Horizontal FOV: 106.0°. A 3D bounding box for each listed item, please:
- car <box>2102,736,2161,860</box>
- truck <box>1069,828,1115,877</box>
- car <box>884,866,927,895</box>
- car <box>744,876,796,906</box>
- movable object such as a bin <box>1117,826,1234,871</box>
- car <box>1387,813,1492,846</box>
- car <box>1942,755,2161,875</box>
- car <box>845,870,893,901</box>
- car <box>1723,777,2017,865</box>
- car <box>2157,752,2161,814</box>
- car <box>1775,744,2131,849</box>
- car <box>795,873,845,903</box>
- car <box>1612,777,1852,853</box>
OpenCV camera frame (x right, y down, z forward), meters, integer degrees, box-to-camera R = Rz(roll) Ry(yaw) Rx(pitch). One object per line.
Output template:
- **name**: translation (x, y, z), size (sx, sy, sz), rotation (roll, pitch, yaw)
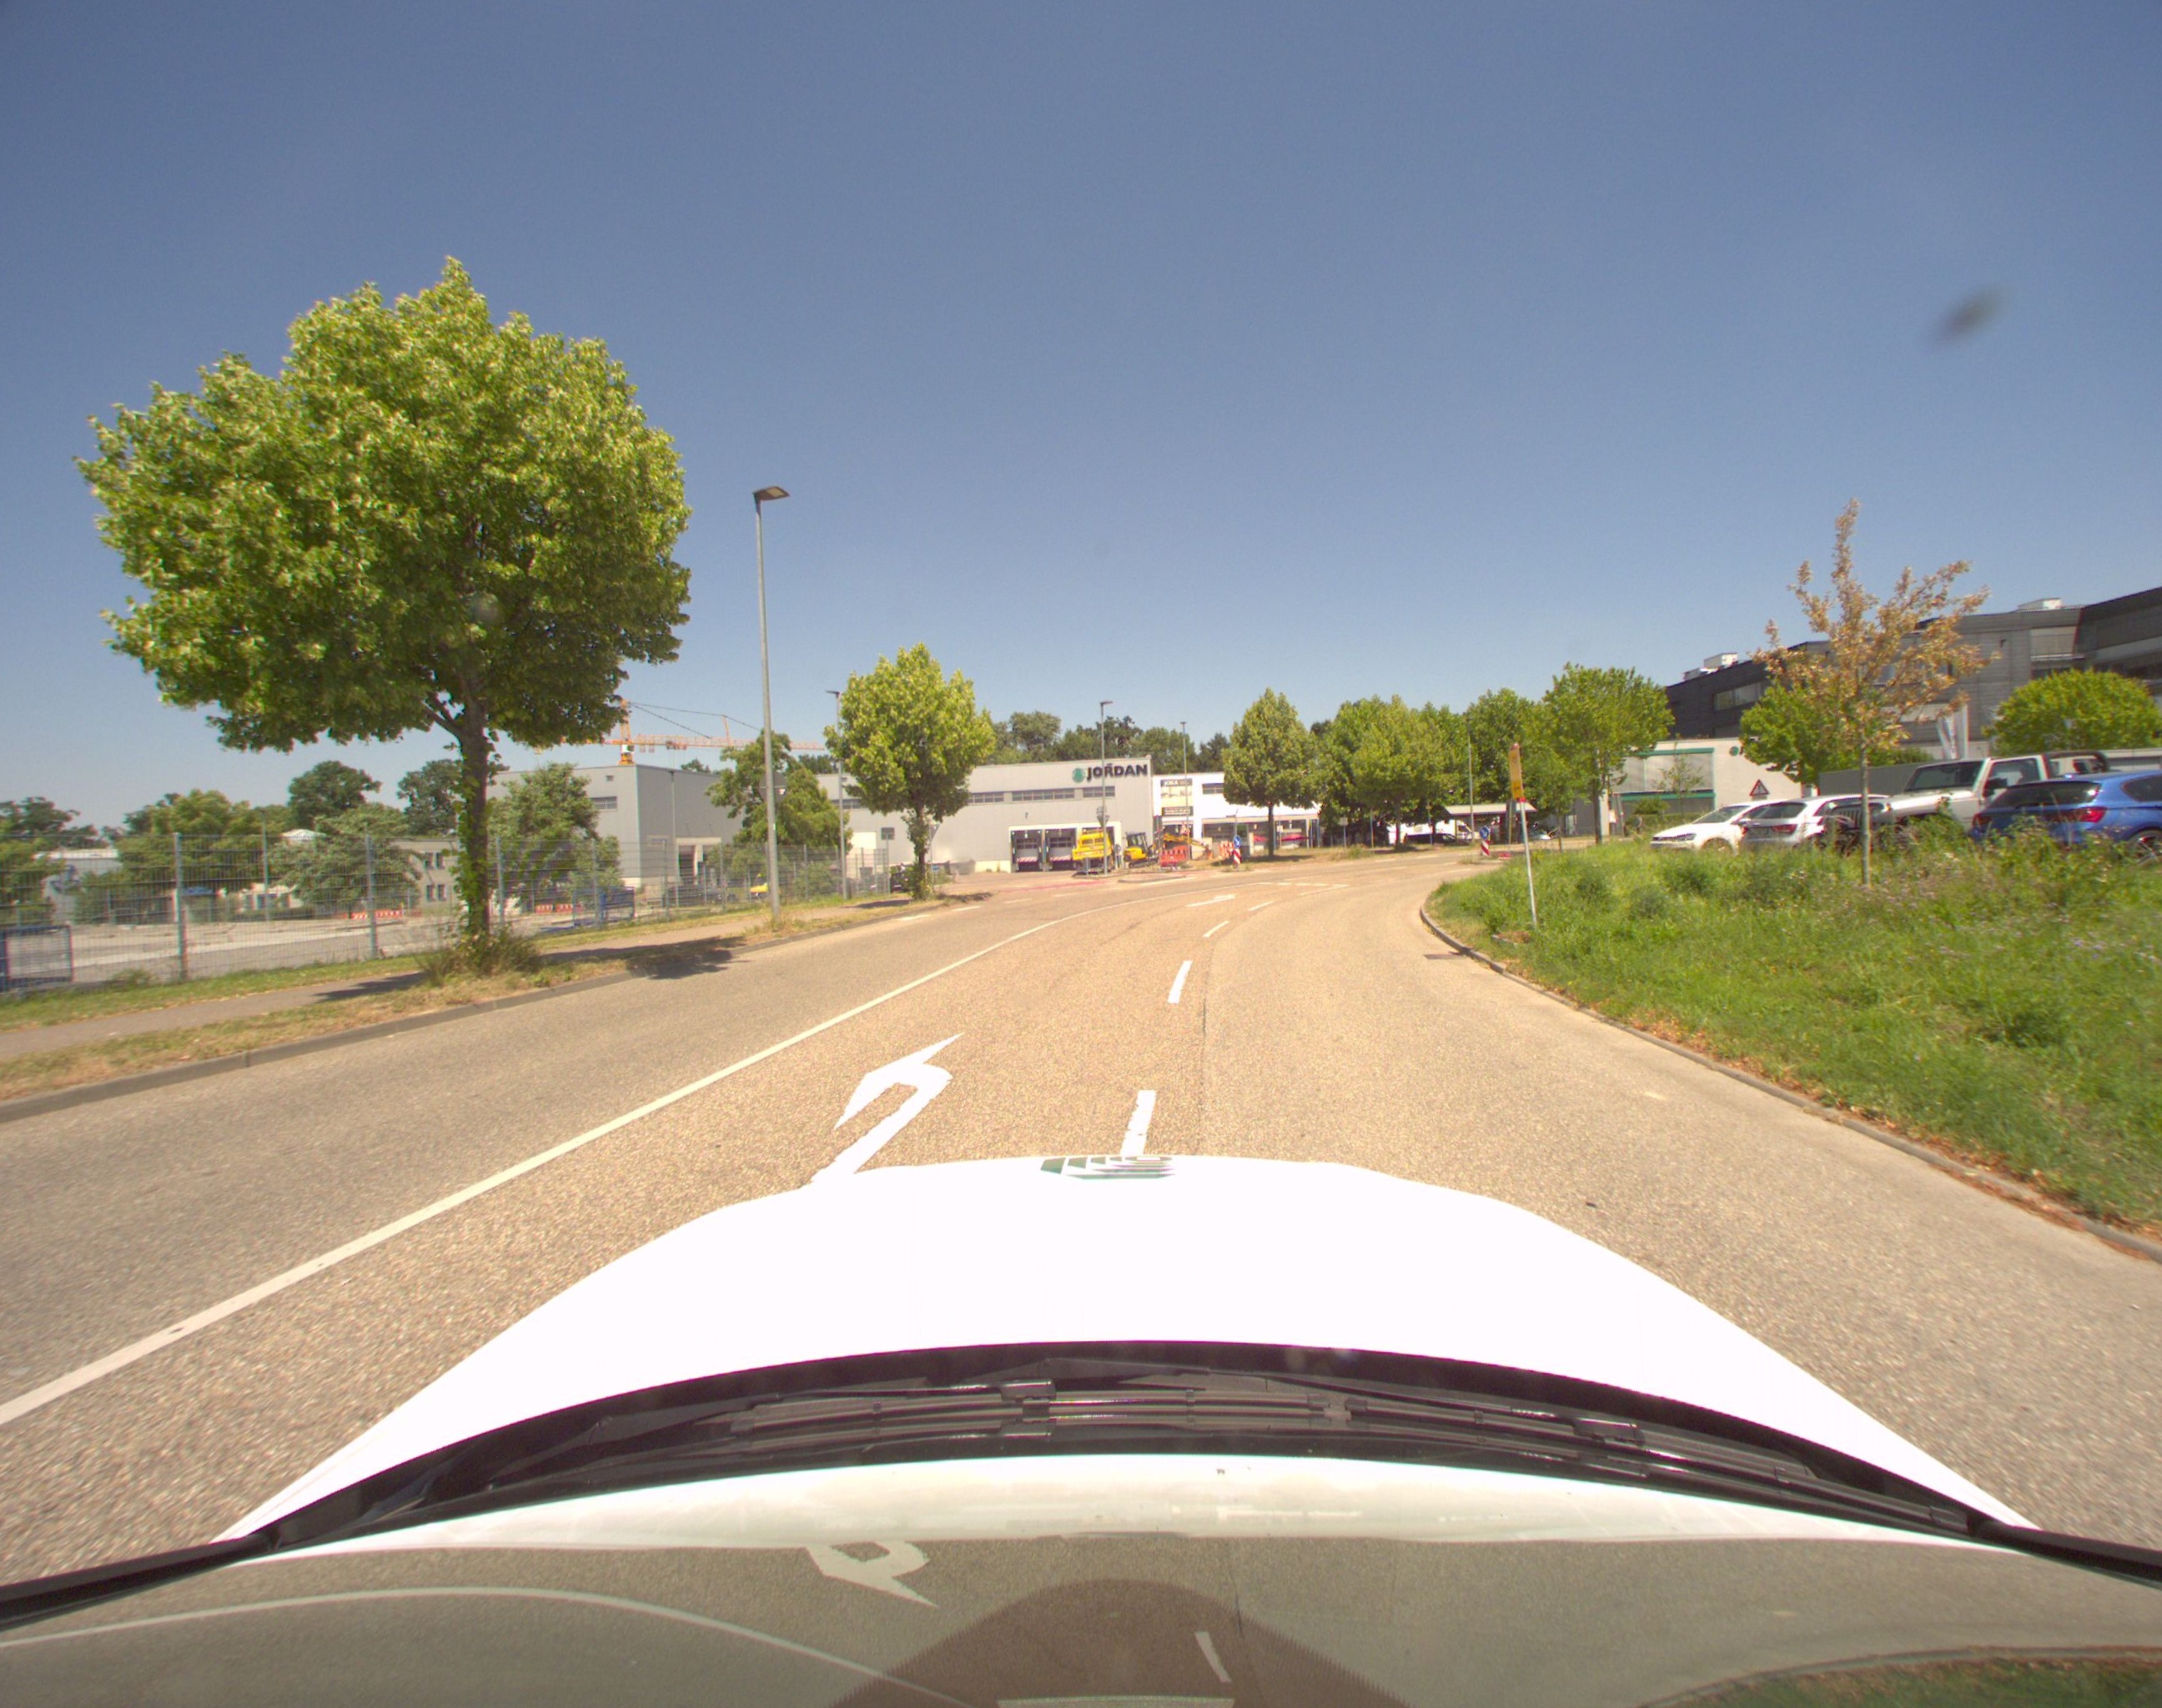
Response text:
- **car**: translation (14.314, -0.759, 8.796), size (4.143, 1.400, 1.772), rotation (-4, 4, 4)
- **truck**: translation (0.737, -0.211, 57.535), size (2.929, 2.885, 5.810), rotation (-4, 4, 0)
- **car**: translation (-12.411, 1.844, 57.855), size (1.986, 1.551, 4.003), rotation (-4, 4, 2)
- **car**: translation (-21.981, 2.584, 57.728), size (1.986, 1.551, 4.003), rotation (-4, 4, 2)
- **movable object such as a bin**: translation (6.707, -0.397, 57.200), size (7.468, 2.499, 3.683), rotation (-3, 4, 16)
- **car**: translation (27.557, -1.875, 62.866), size (7.125, 2.088, 2.006), rotation (-3, 0, 11)
- **car**: translation (15.014, -0.638, 11.281), size (4.143, 1.400, 1.772), rotation (-4, 4, 4)
- **car**: translation (-14.440, 2.141, 55.639), size (1.986, 1.551, 4.003), rotation (-4, 4, 2)
- **car**: translation (15.925, -0.692, 16.618), size (4.143, 1.400, 1.772), rotation (-4, 4, 4)
- **car**: translation (26.540, -1.697, 17.625), size (3.968, 1.400, 1.772), rotation (-4, 4, 4)
- **car**: translation (14.972, -0.990, 14.182), size (4.143, 1.400, 1.772), rotation (-4, 4, 4)
- **car**: translation (-18.360, 2.328, 57.416), size (1.986, 1.551, 4.003), rotation (-4, 4, 2)
- **car**: translation (15.214, -0.926, 19.220), size (4.143, 1.400, 1.772), rotation (-4, 4, 4)
